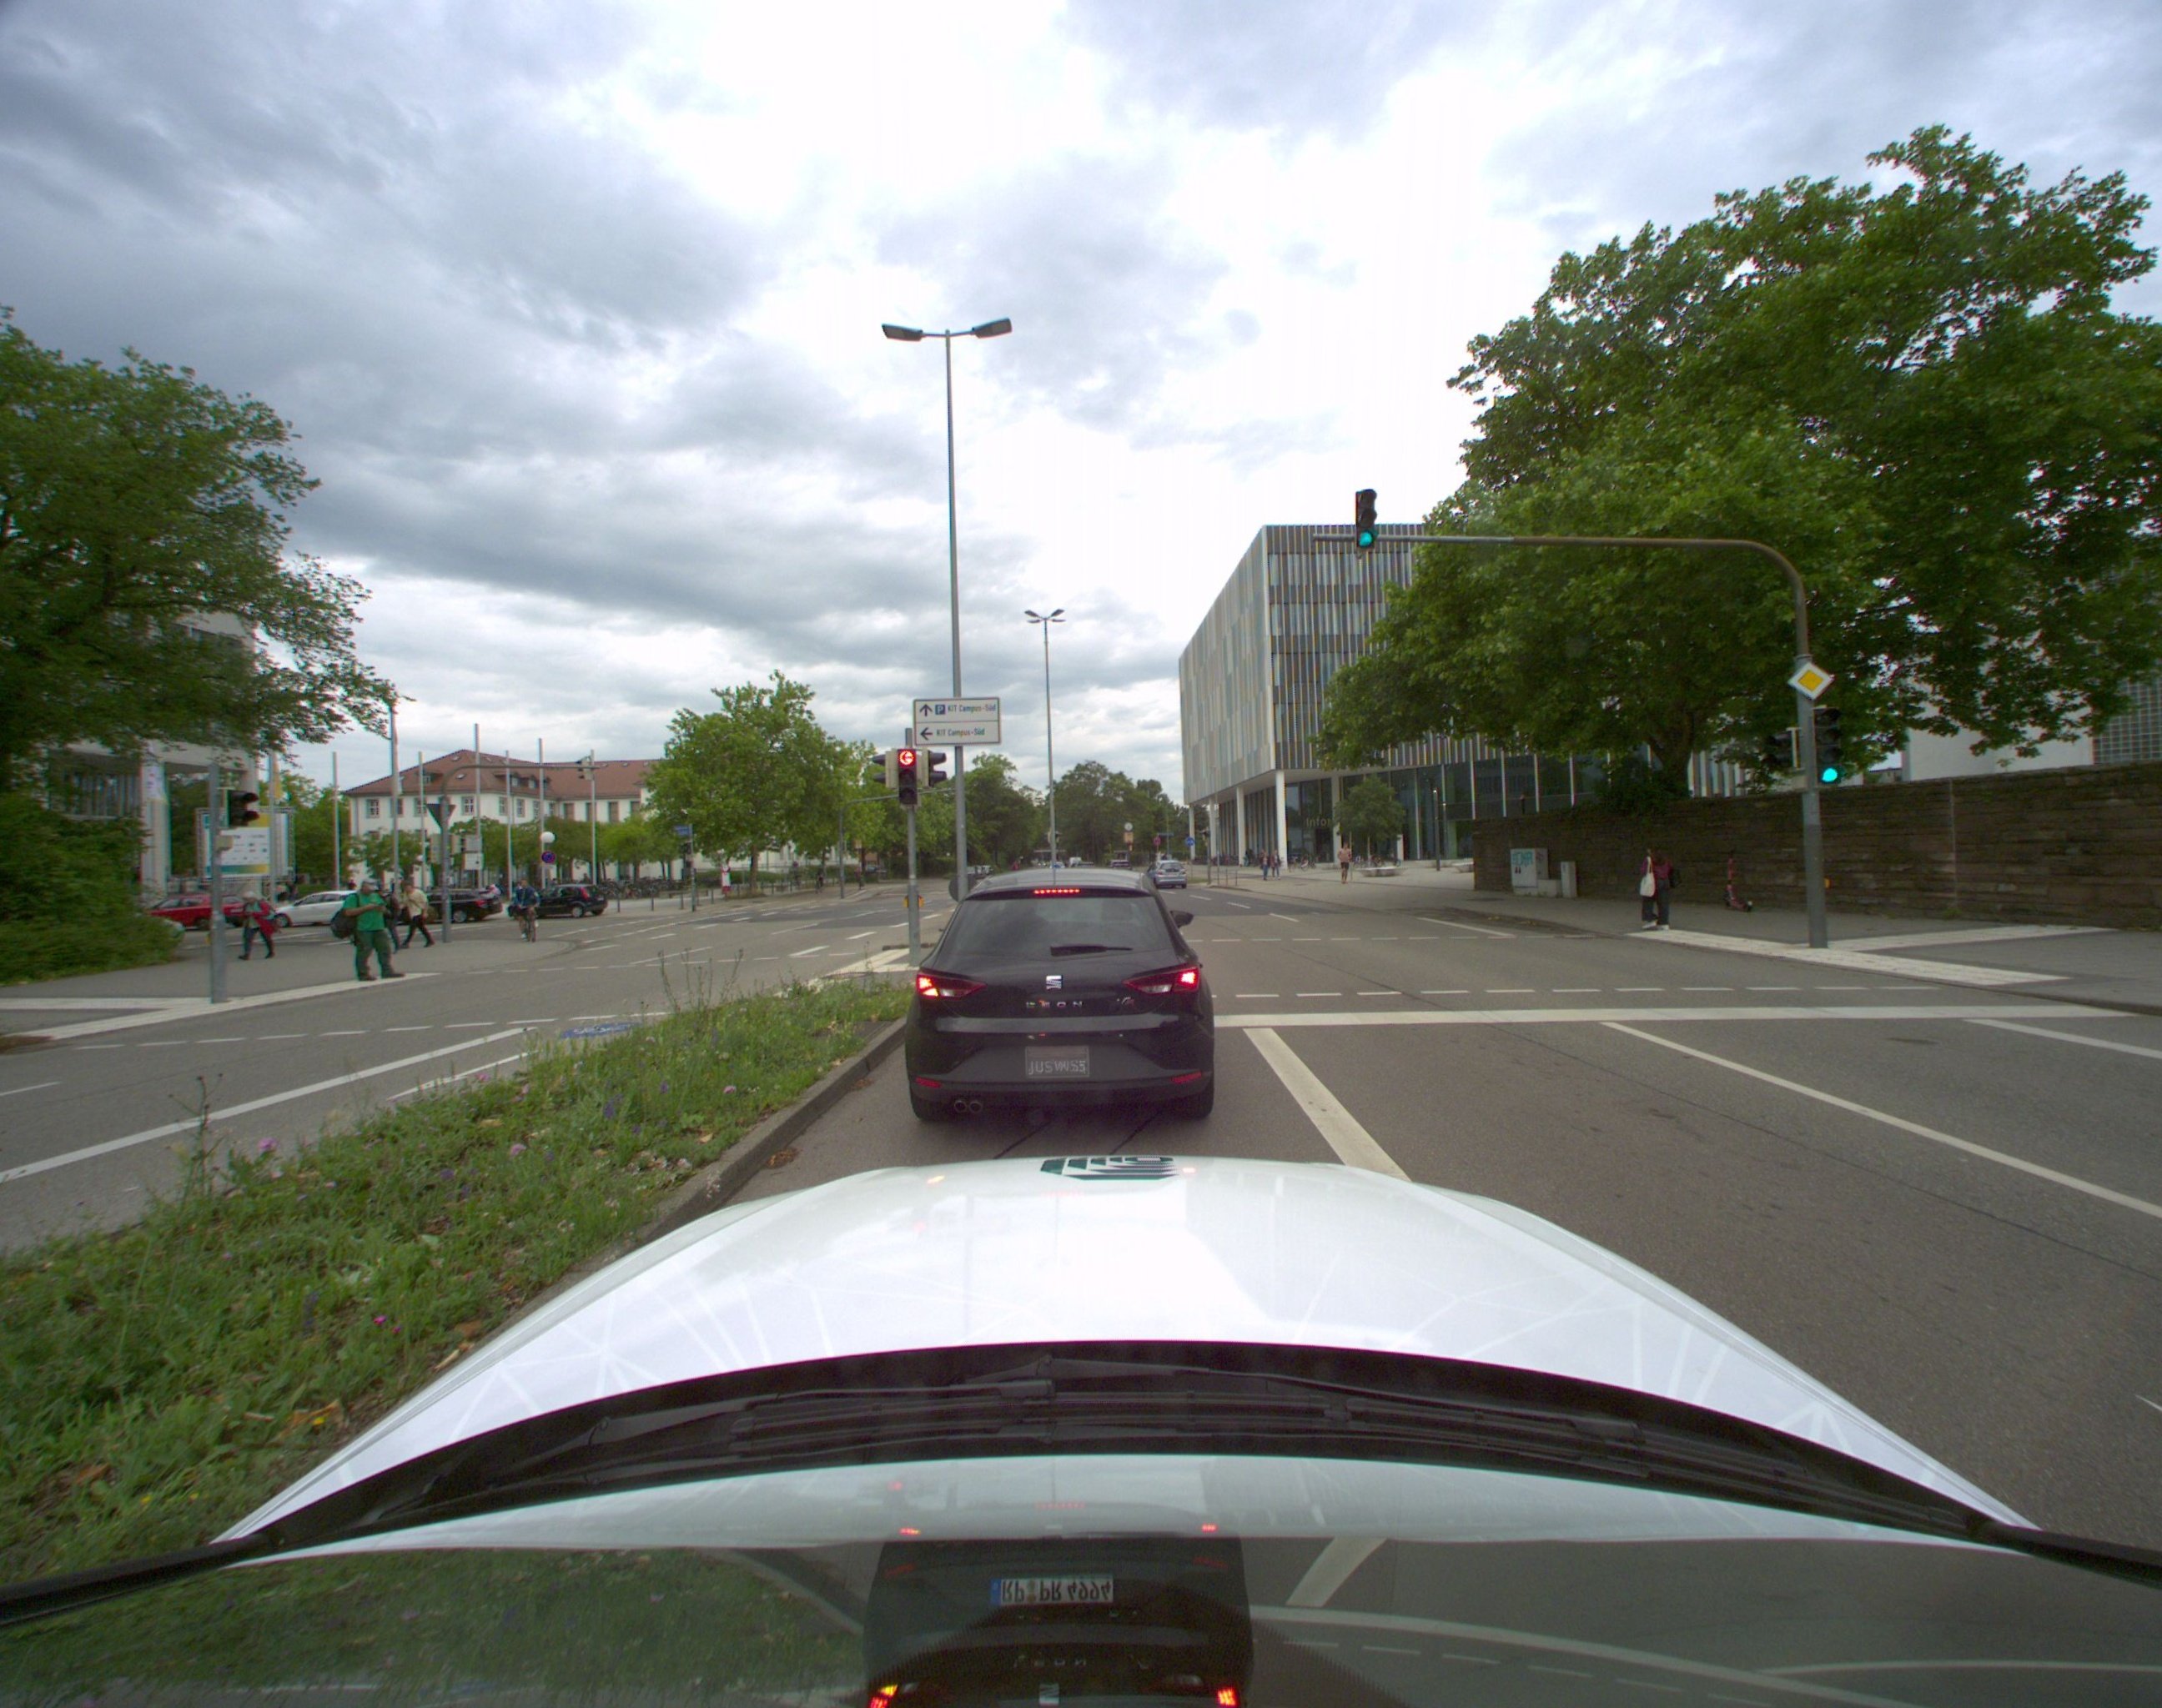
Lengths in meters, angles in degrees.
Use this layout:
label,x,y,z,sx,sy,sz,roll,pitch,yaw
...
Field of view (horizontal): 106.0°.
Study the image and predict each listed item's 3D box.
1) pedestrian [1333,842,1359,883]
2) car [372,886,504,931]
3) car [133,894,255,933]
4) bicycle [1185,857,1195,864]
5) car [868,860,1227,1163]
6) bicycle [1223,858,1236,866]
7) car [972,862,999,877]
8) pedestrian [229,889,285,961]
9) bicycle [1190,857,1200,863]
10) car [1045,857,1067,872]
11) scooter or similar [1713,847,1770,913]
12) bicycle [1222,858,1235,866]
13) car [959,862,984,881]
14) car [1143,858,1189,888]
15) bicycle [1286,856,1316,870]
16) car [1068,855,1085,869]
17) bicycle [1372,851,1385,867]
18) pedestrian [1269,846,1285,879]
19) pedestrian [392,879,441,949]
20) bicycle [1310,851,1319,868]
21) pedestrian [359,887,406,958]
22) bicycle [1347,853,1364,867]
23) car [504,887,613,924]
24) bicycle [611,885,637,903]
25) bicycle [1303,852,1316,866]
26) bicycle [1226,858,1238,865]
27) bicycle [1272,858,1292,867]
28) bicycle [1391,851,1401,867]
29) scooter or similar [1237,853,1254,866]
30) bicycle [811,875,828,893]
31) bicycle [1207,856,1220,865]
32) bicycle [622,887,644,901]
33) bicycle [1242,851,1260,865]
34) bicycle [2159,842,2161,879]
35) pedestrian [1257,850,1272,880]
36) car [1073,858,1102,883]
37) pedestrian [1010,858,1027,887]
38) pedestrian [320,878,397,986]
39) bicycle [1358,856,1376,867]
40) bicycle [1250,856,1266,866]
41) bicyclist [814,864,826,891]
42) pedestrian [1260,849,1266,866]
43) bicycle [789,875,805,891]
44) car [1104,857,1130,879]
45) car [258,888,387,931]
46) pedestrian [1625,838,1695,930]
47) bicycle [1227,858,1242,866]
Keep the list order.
label,x,y,z,sx,sy,sz,roll,pitch,yaw
pedestrian,11.843,0.360,36.426,0.844,1.765,0.768,-3,0,1
car,-27.578,2.302,35.079,4.059,1.452,1.615,-3,5,-16
car,-38.118,2.543,35.059,3.341,1.479,1.559,-1,0,-5
bicycle,14.546,0.843,108.800,1.262,0.848,0.479,1,-2,-21
car,-0.035,0.785,5.871,1.745,1.432,3.773,-1,0,4
bicycle,15.626,0.861,85.788,1.366,0.705,0.490,-3,0,10
car,-11.248,1.848,96.554,1.746,1.587,4.016,-3,0,15
pedestrian,-18.351,1.577,18.157,0.572,1.527,0.842,-2,-5,-22
bicycle,14.949,0.766,106.692,1.239,0.823,0.479,0,-1,-21
car,-2.493,1.028,80.509,1.781,1.463,3.859,-1,0,-9
scooter or similar,13.086,0.485,16.173,0.428,1.179,1.714,-4,0,26
bicycle,15.703,0.841,86.679,1.232,0.705,0.490,-3,0,10
car,-11.621,1.837,86.765,1.899,1.717,4.002,-3,0,2
car,4.518,0.995,43.791,1.665,1.466,3.652,-1,0,-6
bicycle,15.104,0.621,55.986,1.892,0.898,0.693,-4,0,-20
car,-0.641,1.168,119.840,1.965,1.972,4.332,0,0,-7
bicycle,21.656,0.381,59.240,0.802,1.056,1.959,-3,0,21
pedestrian,11.037,0.478,45.871,0.684,1.781,0.677,-2,0,1
pedestrian,-17.263,1.572,21.192,0.845,1.740,0.823,-1,-5,-29
bicycle,18.402,0.404,64.112,0.522,1.253,1.674,-3,0,20
pedestrian,-16.171,1.576,18.863,0.796,1.558,0.691,0,-5,-42
bicycle,20.575,0.468,60.982,0.688,0.946,1.997,-3,0,32
car,-23.025,2.252,35.974,3.649,1.223,1.562,-2,7,-5
bicycle,-31.086,2.712,55.425,1.405,1.052,0.585,-4,0,-19
bicycle,18.790,0.438,66.897,0.614,1.045,1.716,-3,0,28
bicycle,16.205,0.801,87.349,1.266,0.705,0.486,-3,0,8
bicycle,17.134,0.721,69.432,1.475,0.748,0.566,-4,0,-2
bicycle,22.533,0.321,58.294,0.616,1.056,1.959,-3,0,21
scooter or similar,15.789,0.550,78.101,1.682,1.106,0.494,-4,0,-30
bicycle,-15.867,1.830,49.495,0.486,1.005,1.590,-1,1,2
bicycle,14.947,0.754,91.674,1.379,0.942,0.489,-3,0,8
bicycle,-30.909,2.763,56.185,1.211,0.880,0.262,-4,0,-22
bicycle,16.174,0.412,77.515,1.785,1.211,0.564,-4,0,-32
bicycle,13.550,0.406,8.914,0.801,1.174,1.952,-5,0,-3
pedestrian,10.329,0.599,45.807,0.684,1.640,0.633,-1,0,1
car,0.455,1.081,55.037,1.877,1.600,4.447,1,0,0
pedestrian,-3.587,1.074,46.848,0.873,1.586,0.542,-3,0,-5
pedestrian,-12.456,1.309,14.052,0.948,1.759,0.865,0,-2,-42
bicycle,21.186,0.547,60.294,1.535,0.716,0.513,-4,0,-42
bicycle,16.462,0.641,75.798,1.445,0.857,0.362,-4,0,-25
bicyclist,-15.872,1.414,49.487,0.489,1.624,0.588,0,1,1
pedestrian,15.306,0.297,68.501,0.469,1.361,0.447,-3,0,12
bicycle,-20.960,2.138,60.149,0.606,1.060,2.041,-3,0,-4
car,2.743,1.078,62.975,1.901,1.624,4.491,-1,0,1
car,-33.054,2.391,35.565,3.868,1.539,1.684,-2,2,-2
pedestrian,10.410,0.524,14.660,0.657,1.561,0.636,-6,0,1
bicycle,15.832,0.824,83.985,1.368,0.705,0.416,-4,0,4
